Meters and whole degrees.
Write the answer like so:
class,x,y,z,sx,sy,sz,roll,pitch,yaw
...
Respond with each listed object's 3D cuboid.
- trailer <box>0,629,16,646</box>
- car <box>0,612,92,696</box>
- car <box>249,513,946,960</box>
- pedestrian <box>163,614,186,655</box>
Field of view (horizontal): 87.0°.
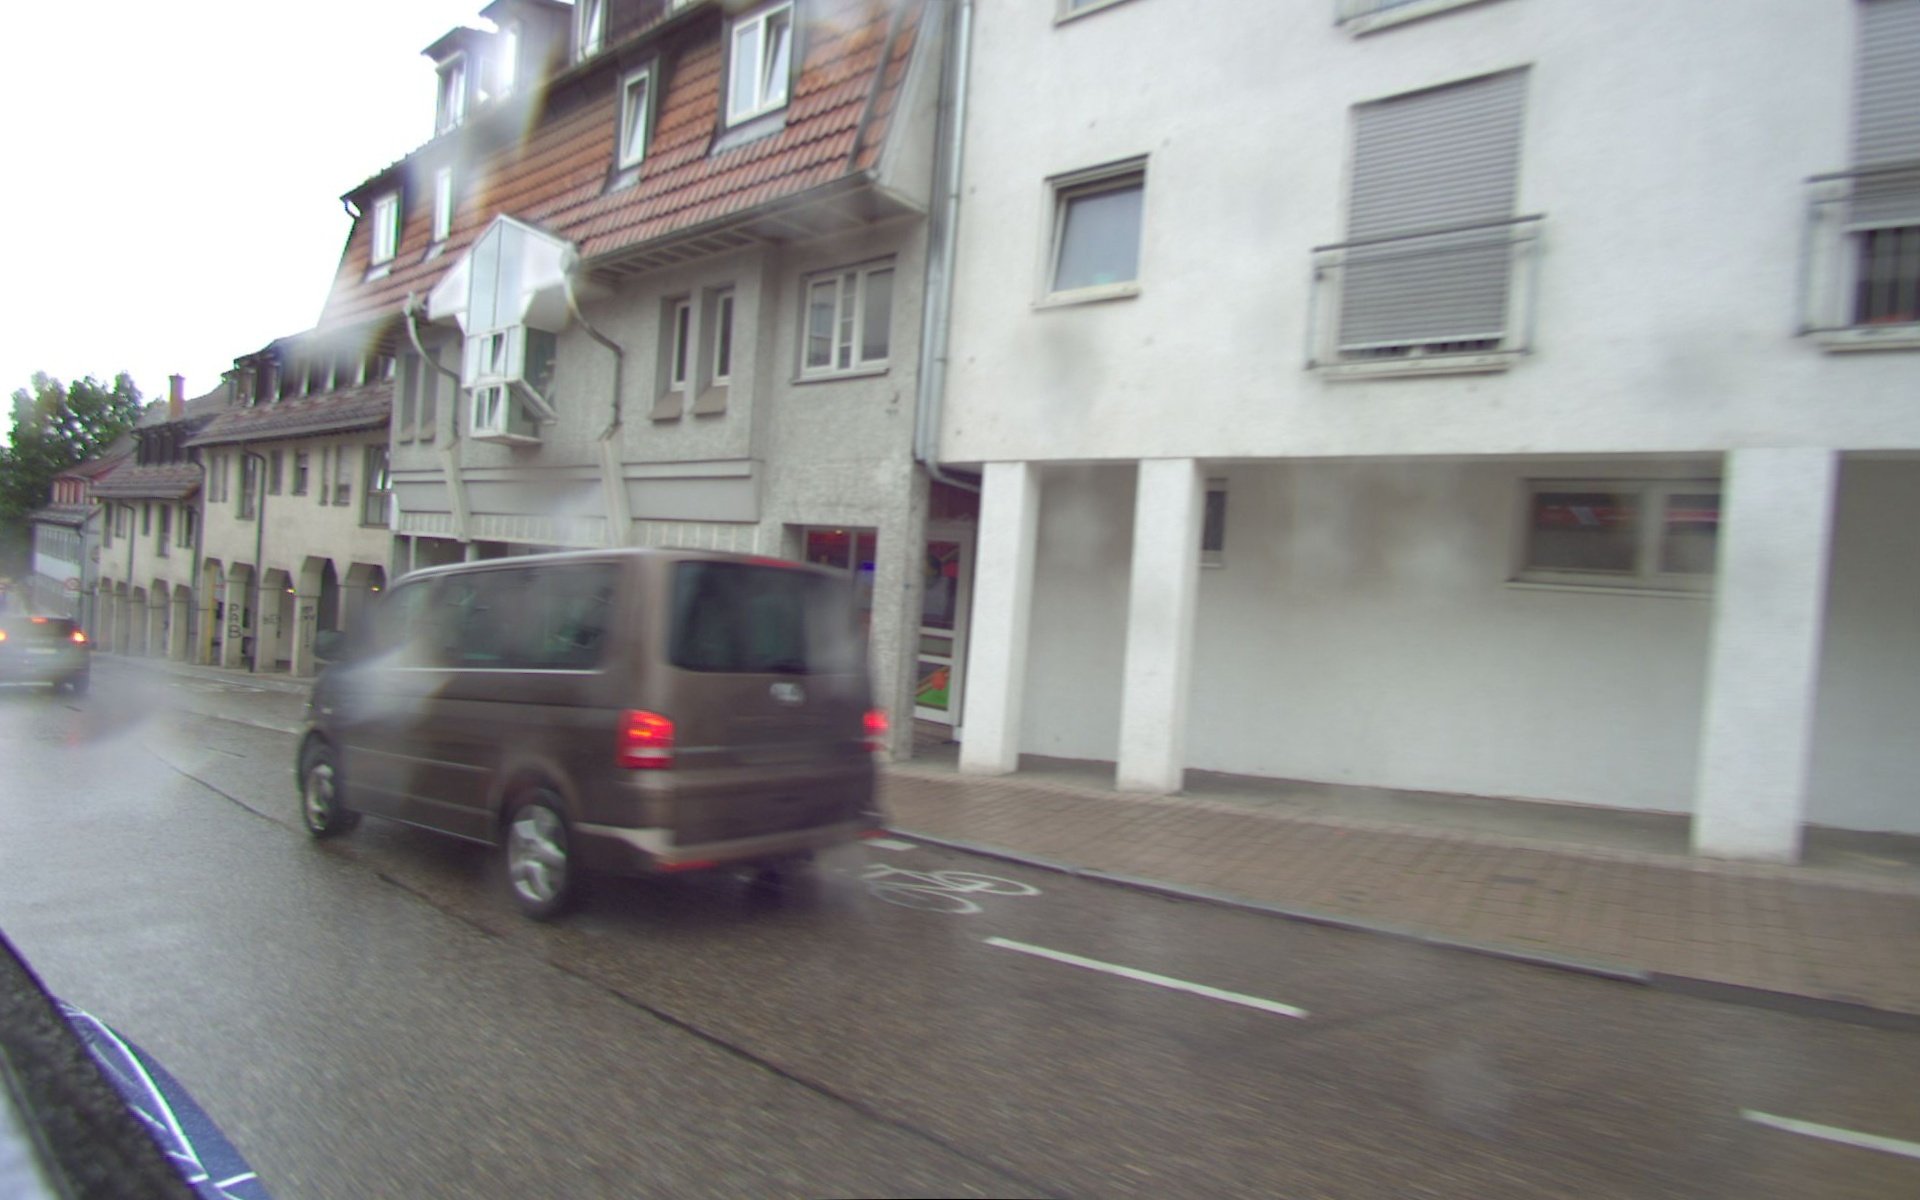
class,x,y,z,sx,sy,sz,roll,pitch,yaw
trailer,-55.688,2.161,58.112,4.479,0.912,1.971,-1,-1,44
car,-20.701,1.131,22.378,4.459,1.707,1.762,-1,-2,43
car,-2.659,0.647,6.697,5.036,1.922,1.913,-1,-3,38
pedestrian,-34.629,1.510,44.615,0.735,1.753,0.680,-1,0,45
